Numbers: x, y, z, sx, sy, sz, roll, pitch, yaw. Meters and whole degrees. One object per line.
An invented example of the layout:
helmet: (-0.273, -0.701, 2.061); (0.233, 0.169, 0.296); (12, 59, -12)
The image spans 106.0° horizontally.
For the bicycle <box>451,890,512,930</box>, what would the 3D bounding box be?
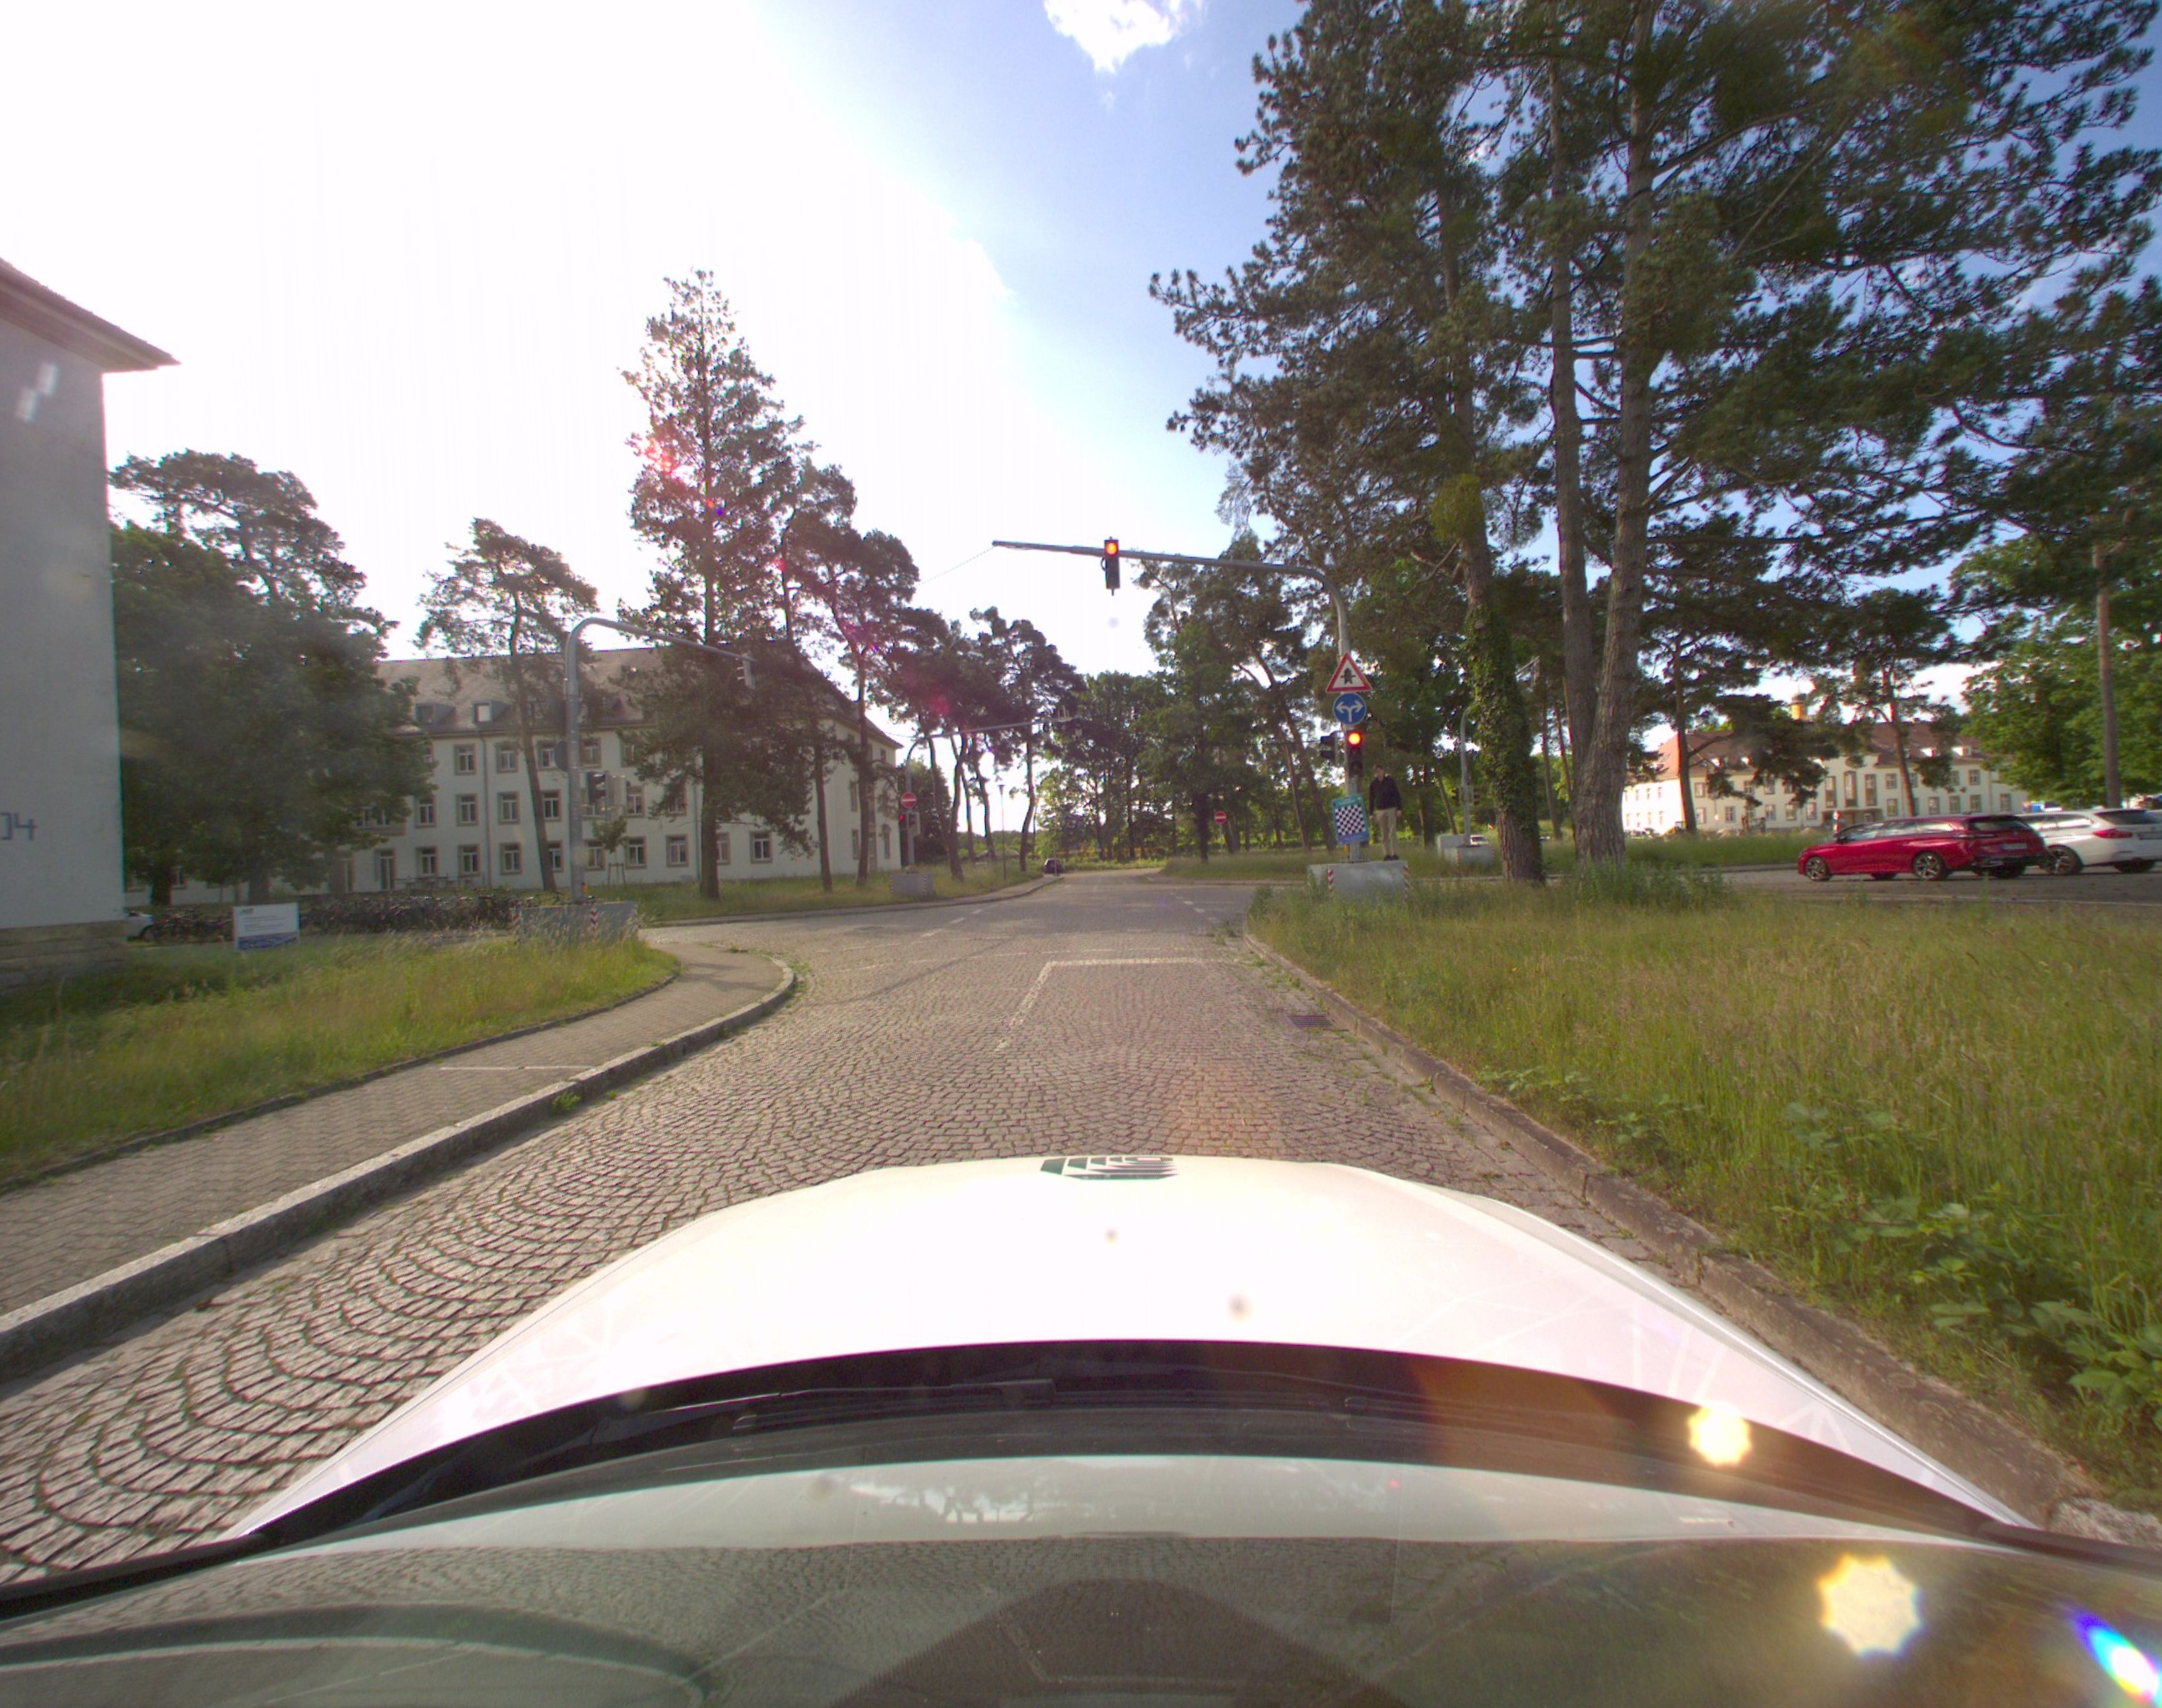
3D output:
bicycle: (-20.374, 1.887, 27.724); (0.546, 1.220, 1.900); (-3, 0, 2)

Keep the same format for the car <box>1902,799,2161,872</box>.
car: (21.937, -0.344, 18.727); (1.773, 1.379, 4.240); (-3, -2, 0)

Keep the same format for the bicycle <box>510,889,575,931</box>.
bicycle: (-17.625, 1.808, 26.734); (0.630, 1.220, 2.125); (-3, 0, 2)

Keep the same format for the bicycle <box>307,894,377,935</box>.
bicycle: (-24.888, 2.007, 27.477); (0.512, 1.220, 1.938); (-3, 0, 2)

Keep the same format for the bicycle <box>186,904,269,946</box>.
bicycle: (-28.671, 2.355, 27.385); (0.509, 1.220, 1.841); (-3, 0, 38)

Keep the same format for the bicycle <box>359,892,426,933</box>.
bicycle: (-23.141, 1.958, 27.420); (0.512, 1.220, 1.938); (-3, 0, 2)

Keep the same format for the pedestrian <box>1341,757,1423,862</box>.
pedestrian: (5.584, -0.794, 15.082); (1.157, 1.796, 1.069); (-4, 0, 31)

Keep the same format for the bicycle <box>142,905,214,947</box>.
bicycle: (-30.034, 2.382, 27.121); (0.514, 1.220, 1.823); (-3, 0, -9)

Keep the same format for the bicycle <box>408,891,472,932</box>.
bicycle: (-21.543, 1.920, 27.421); (0.512, 1.220, 1.977); (-3, 0, 2)

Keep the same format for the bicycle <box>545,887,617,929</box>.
bicycle: (-15.910, 1.714, 25.954); (1.855, 1.220, 0.635); (-3, 0, 1)

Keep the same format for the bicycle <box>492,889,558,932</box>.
bicycle: (-18.228, 1.825, 26.751); (0.630, 1.220, 2.105); (-3, 0, 2)

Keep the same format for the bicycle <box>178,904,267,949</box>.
bicycle: (-27.214, 2.277, 25.862); (1.836, 1.220, 0.510); (-3, 0, -34)

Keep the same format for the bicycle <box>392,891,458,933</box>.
bicycle: (-22.061, 1.930, 27.424); (0.512, 1.220, 1.977); (-3, 0, 2)

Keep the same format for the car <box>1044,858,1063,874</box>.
car: (-2.775, 1.223, 83.031); (1.704, 1.496, 3.918); (-3, 0, 0)

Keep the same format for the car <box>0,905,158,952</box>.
car: (-33.693, 2.443, 27.175); (1.503, 1.211, 3.597); (-3, 0, 4)

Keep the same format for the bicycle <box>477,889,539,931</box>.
bicycle: (-19.071, 1.850, 27.150); (0.570, 1.220, 1.990); (-3, 0, 2)

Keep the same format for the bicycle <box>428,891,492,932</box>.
bicycle: (-20.894, 1.902, 27.458); (0.512, 1.220, 2.016); (-3, 0, 2)

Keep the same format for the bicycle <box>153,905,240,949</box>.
bicycle: (-28.706, 2.353, 26.452); (0.509, 1.220, 1.841); (-3, 0, 38)

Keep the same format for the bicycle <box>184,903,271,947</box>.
bicycle: (-27.597, 2.282, 26.377); (1.836, 1.220, 0.510); (-3, 0, -34)

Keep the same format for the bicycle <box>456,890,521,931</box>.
bicycle: (-19.814, 1.873, 27.293); (0.576, 1.220, 2.030); (-3, 0, 2)

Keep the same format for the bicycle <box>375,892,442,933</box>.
bicycle: (-22.587, 1.942, 27.400); (0.512, 1.220, 1.955); (-3, 0, 2)

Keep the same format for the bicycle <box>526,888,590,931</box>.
bicycle: (-17.141, 1.794, 26.735); (0.630, 1.220, 2.115); (-3, 0, 2)

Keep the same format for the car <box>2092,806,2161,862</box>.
car: (26.998, -0.526, 19.104); (1.610, 1.315, 4.048); (-4, 0, 3)

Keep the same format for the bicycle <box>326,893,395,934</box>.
bicycle: (-24.278, 1.990, 27.479); (0.512, 1.220, 1.938); (-3, 0, 2)

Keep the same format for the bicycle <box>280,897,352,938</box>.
bicycle: (-25.777, 2.123, 27.494); (0.512, 1.220, 1.938); (-3, 0, 2)

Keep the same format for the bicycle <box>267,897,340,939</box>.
bicycle: (-26.224, 2.136, 27.509); (0.512, 1.220, 1.938); (-3, 0, 2)

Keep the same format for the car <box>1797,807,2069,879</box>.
car: (19.096, -0.188, 18.609); (1.740, 1.399, 4.328); (-2, -1, 2)

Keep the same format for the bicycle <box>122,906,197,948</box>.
bicycle: (-30.640, 2.399, 27.114); (0.513, 1.220, 1.825); (-3, 0, -6)

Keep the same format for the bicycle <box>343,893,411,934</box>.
bicycle: (-23.686, 1.973, 27.451); (0.512, 1.220, 1.938); (-3, 0, 2)

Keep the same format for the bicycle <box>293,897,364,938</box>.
bicycle: (-25.348, 2.111, 27.487); (0.512, 1.220, 1.938); (-3, 0, 2)
